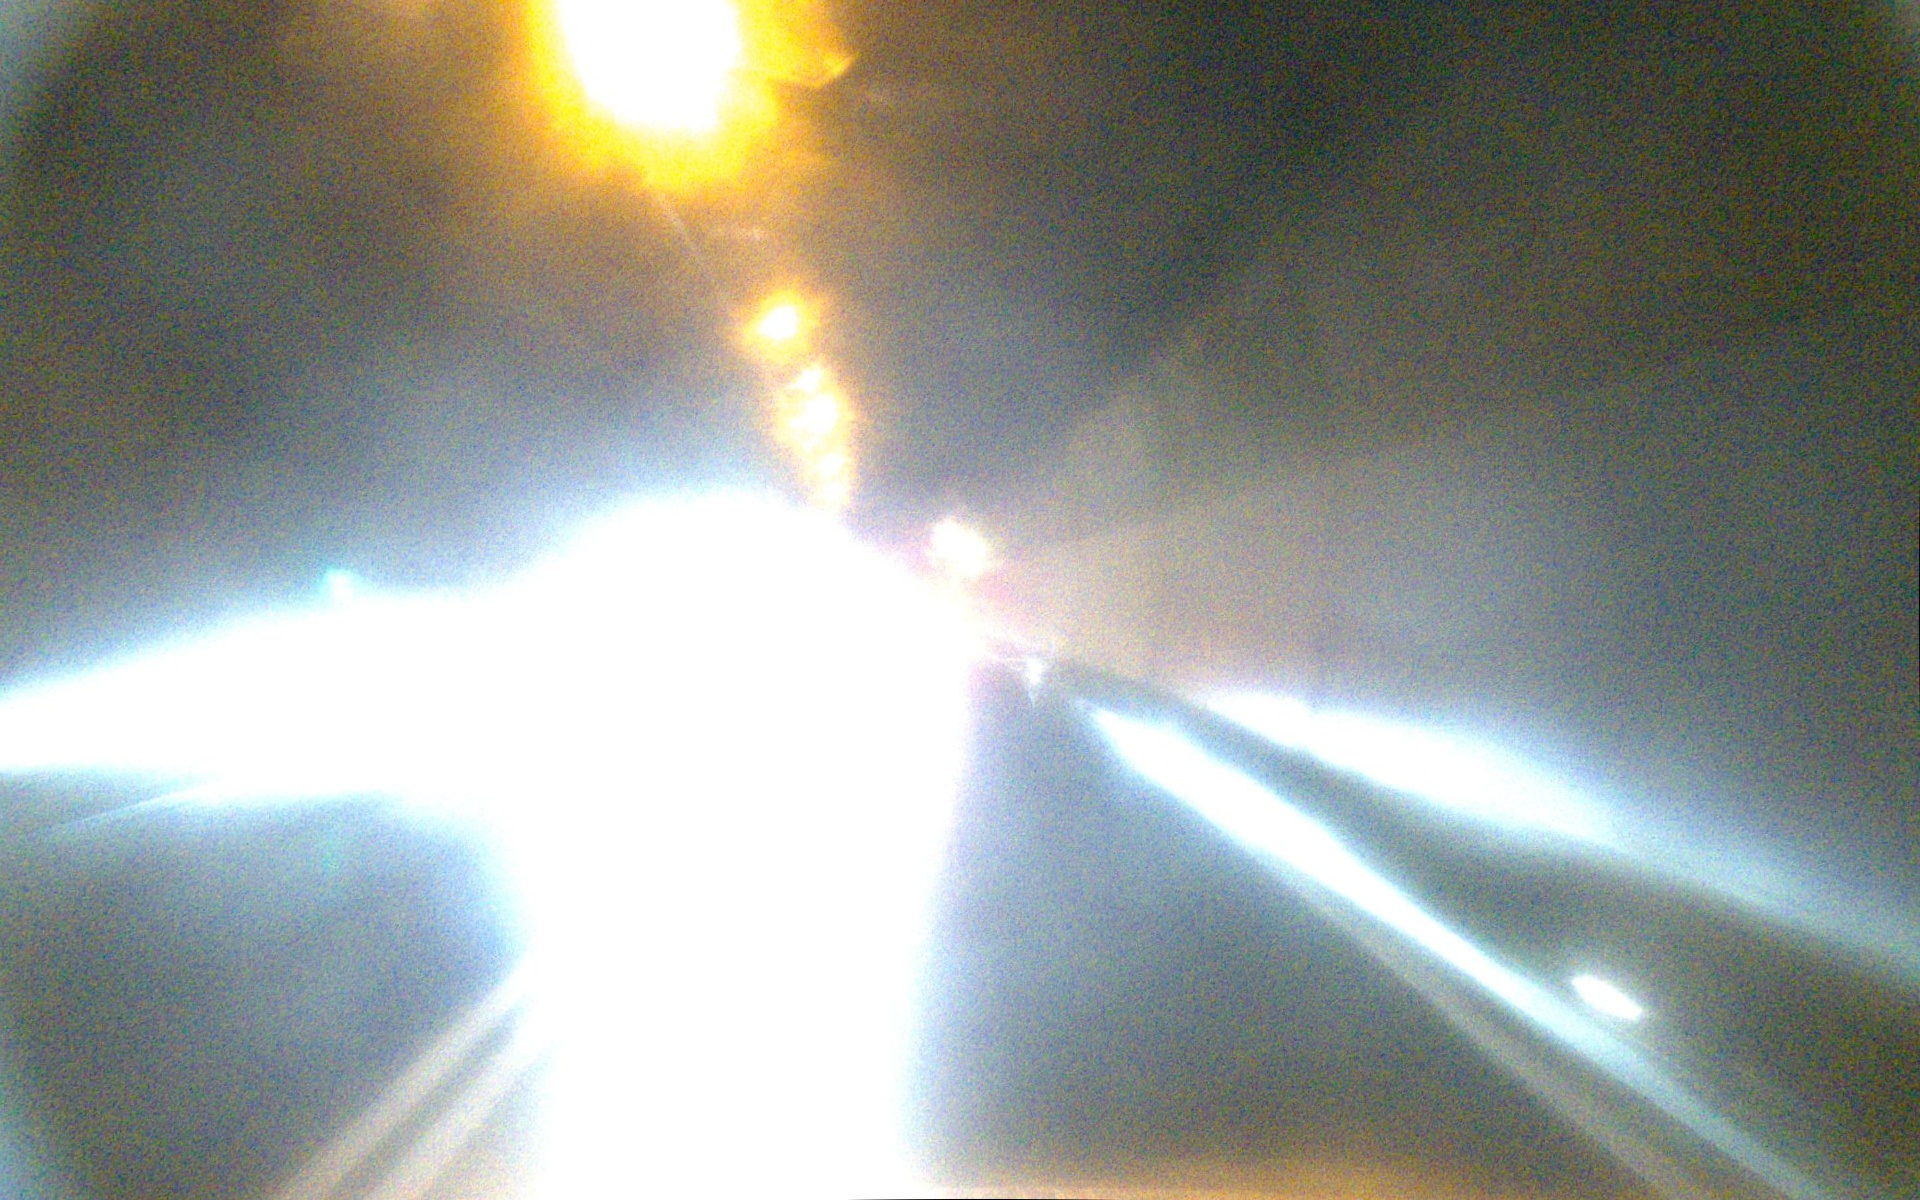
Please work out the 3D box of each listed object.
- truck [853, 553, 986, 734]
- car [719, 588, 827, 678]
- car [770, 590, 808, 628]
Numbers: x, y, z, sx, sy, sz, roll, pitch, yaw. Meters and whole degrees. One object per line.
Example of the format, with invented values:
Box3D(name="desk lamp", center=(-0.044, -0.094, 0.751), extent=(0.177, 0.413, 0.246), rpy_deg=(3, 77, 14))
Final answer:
Box3D(name="truck", center=(-0.725, 0.757, 32.426), extent=(2.216, 3.063, 7.414), rpy_deg=(2, 0, 0))
Box3D(name="car", center=(-3.421, 0.578, 30.833), extent=(1.622, 1.519, 3.837), rpy_deg=(2, 0, -2))
Box3D(name="car", center=(-7.672, 0.382, 74.483), extent=(1.599, 1.679, 3.771), rpy_deg=(0, 0, -5))
